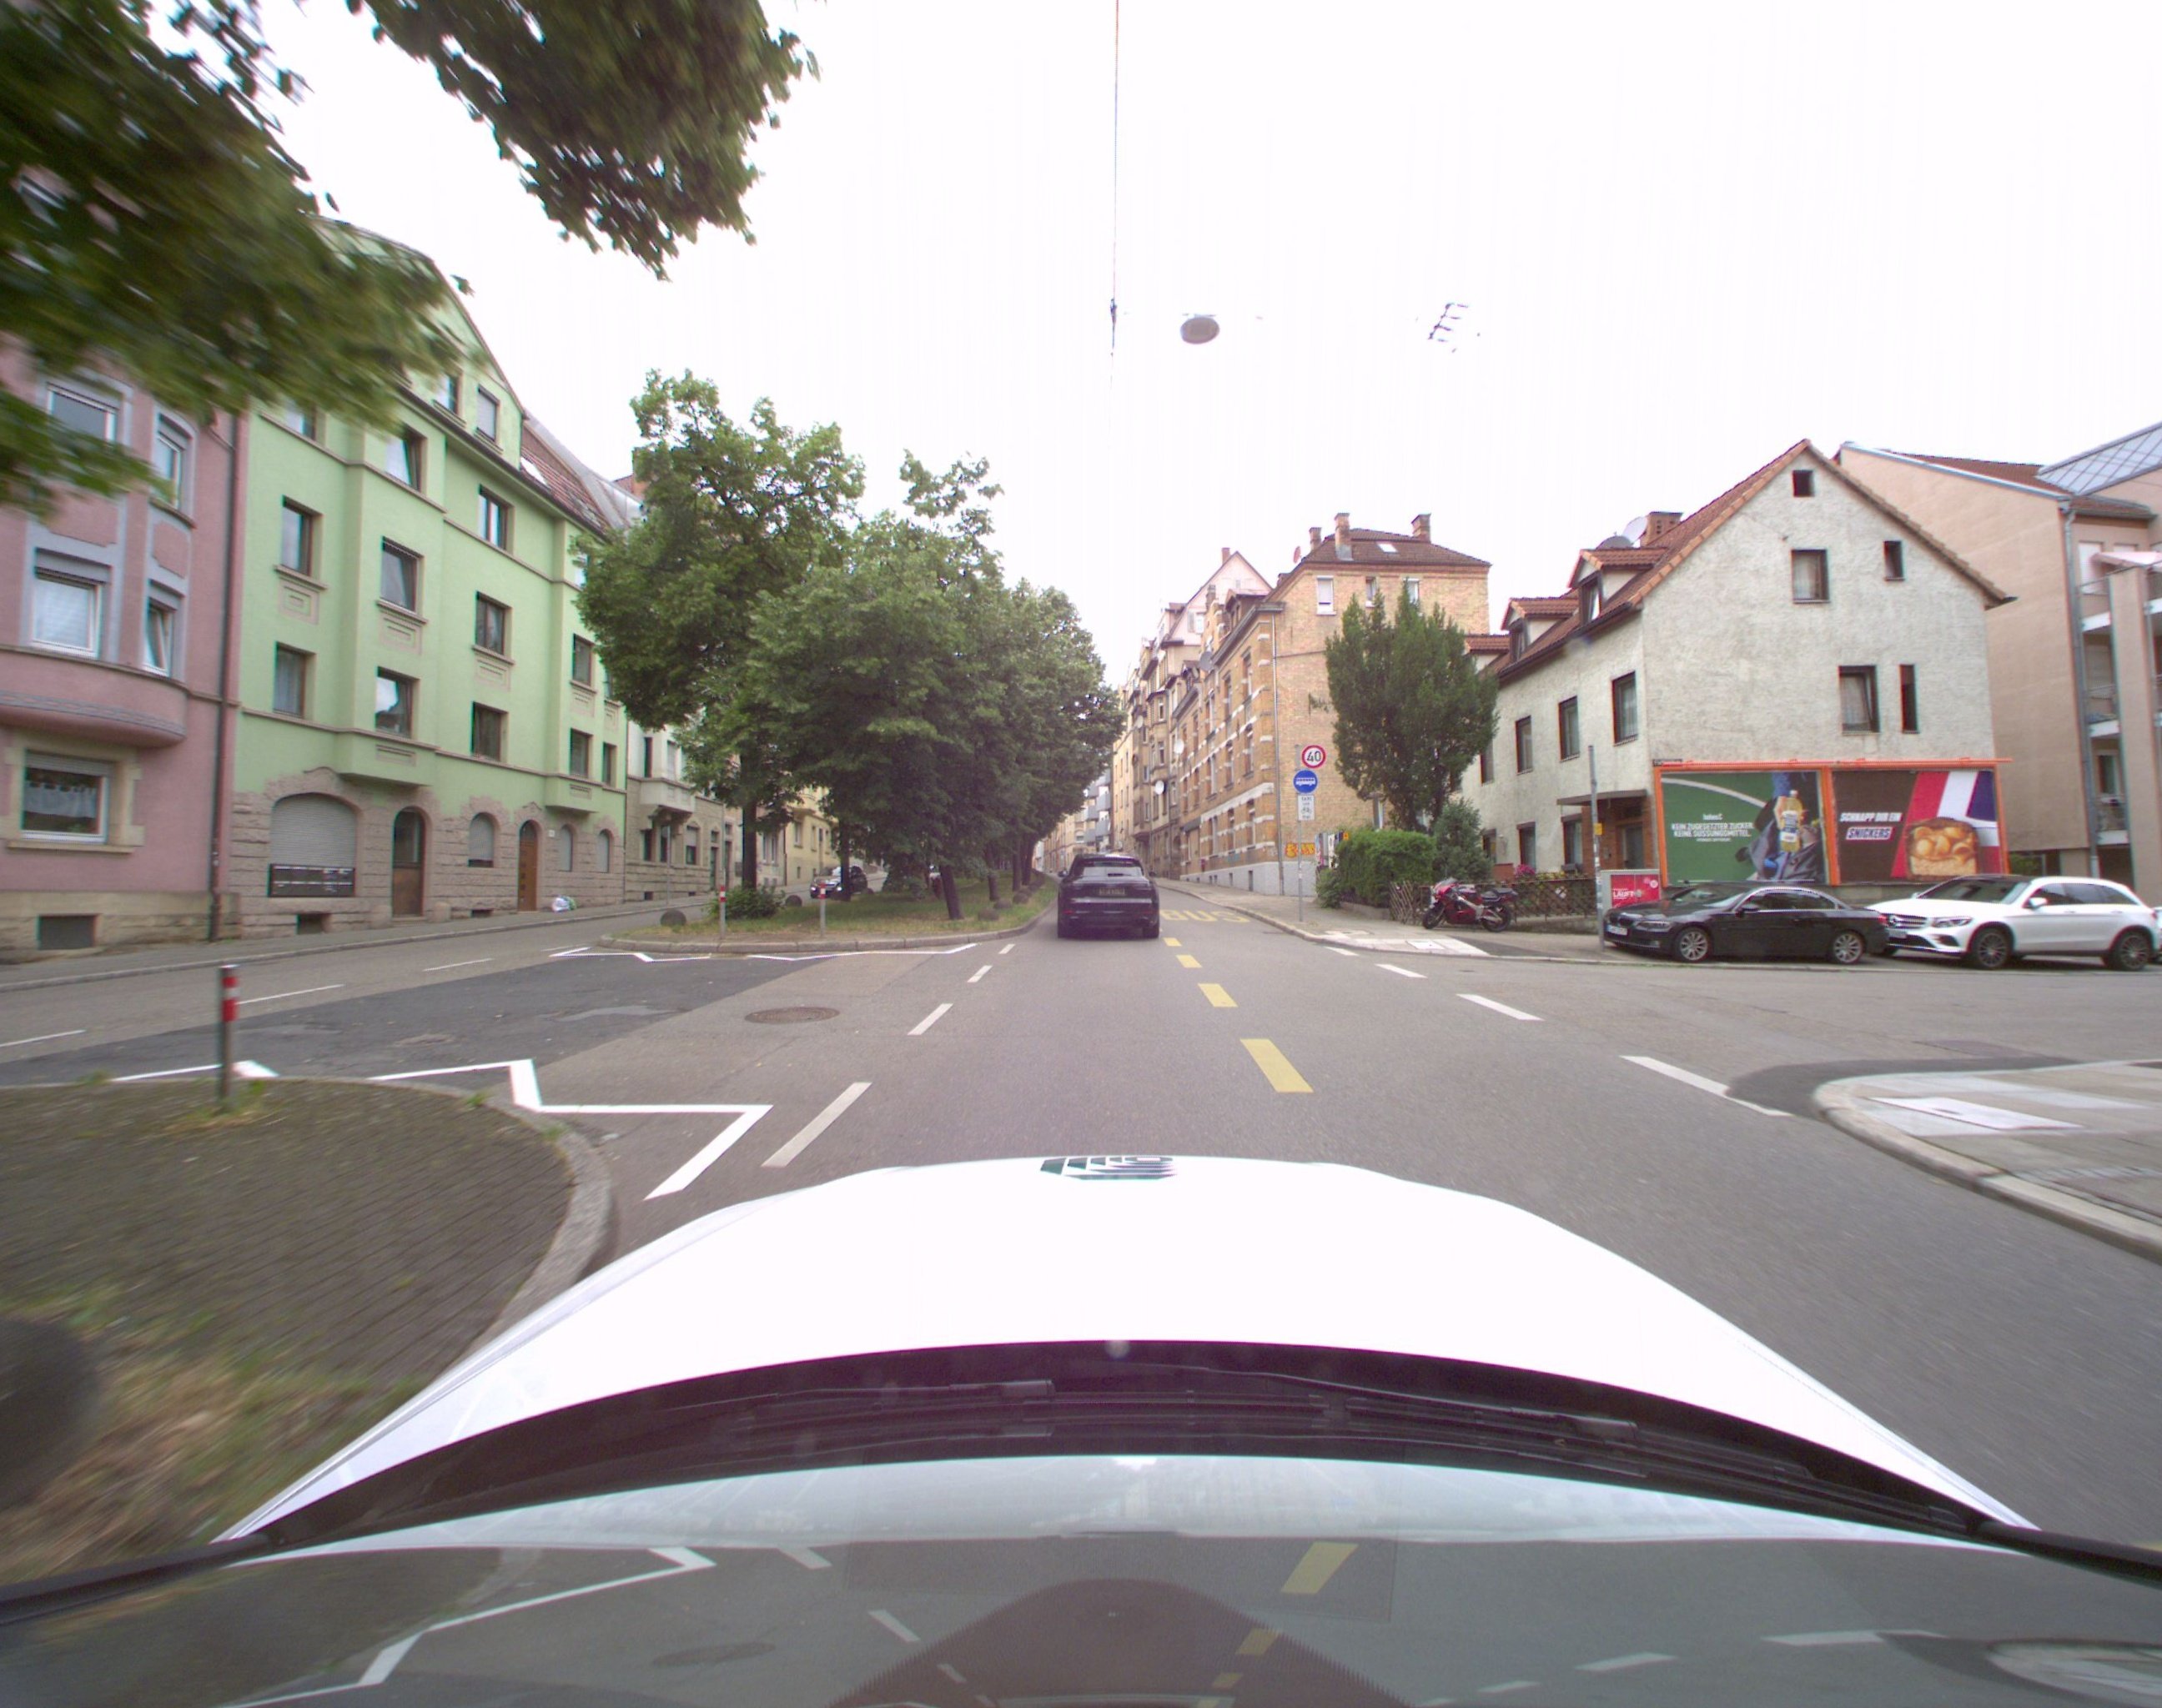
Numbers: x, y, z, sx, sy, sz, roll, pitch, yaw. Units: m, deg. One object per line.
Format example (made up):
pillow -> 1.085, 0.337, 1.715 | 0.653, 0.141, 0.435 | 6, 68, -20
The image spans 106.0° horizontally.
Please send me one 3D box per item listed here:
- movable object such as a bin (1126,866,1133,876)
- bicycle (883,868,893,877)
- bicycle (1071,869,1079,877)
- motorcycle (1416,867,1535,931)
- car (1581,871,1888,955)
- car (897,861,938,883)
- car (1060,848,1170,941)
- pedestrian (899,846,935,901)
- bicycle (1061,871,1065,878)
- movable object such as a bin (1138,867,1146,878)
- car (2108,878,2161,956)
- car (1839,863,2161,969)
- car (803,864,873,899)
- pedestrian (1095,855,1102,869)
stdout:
movable object such as a bin -> 4.558, 1.586, 76.795 | 0.593, 0.904, 0.502 | 0, -5, -4
bicycle -> -23.491, 2.233, 99.094 | 0.766, 1.085, 2.018 | 2, -3, -27
bicycle -> -0.977, 2.969, 127.951 | 0.878, 1.129, 2.972 | 0, -3, -6
motorcycle -> 8.310, 0.932, 17.215 | 2.051, 1.268, 1.009 | 1, -1, -4
car -> 11.547, 1.003, 14.582 | 4.113, 1.285, 1.782 | 0, 3, -2
car -> -11.314, 1.216, 56.706 | 1.752, 1.382, 4.670 | -2, 0, 2
car -> 0.607, 0.736, 16.829 | 1.988, 1.665, 3.999 | 1, 0, -1
pedestrian -> -5.409, 0.654, 26.908 | 0.830, 1.712, 1.123 | -4, -3, 1
bicycle -> -3.108, 3.510, 139.154 | 0.446, 1.037, 2.242 | -1, -3, -8
movable object such as a bin -> 5.083, 1.549, 68.314 | 0.593, 0.904, 0.562 | 0, -1, -4
car -> 22.771, 1.249, 15.714 | 4.299, 1.453, 1.789 | 1, 1, -9
car -> 16.771, 1.091, 14.886 | 4.293, 1.664, 1.872 | 2, 1, -5
car -> -11.209, 1.224, 37.896 | 1.702, 1.382, 4.670 | -2, 0, 2
pedestrian -> 2.060, 0.966, 98.026 | 0.750, 1.693, 0.857 | -1, -3, -5
